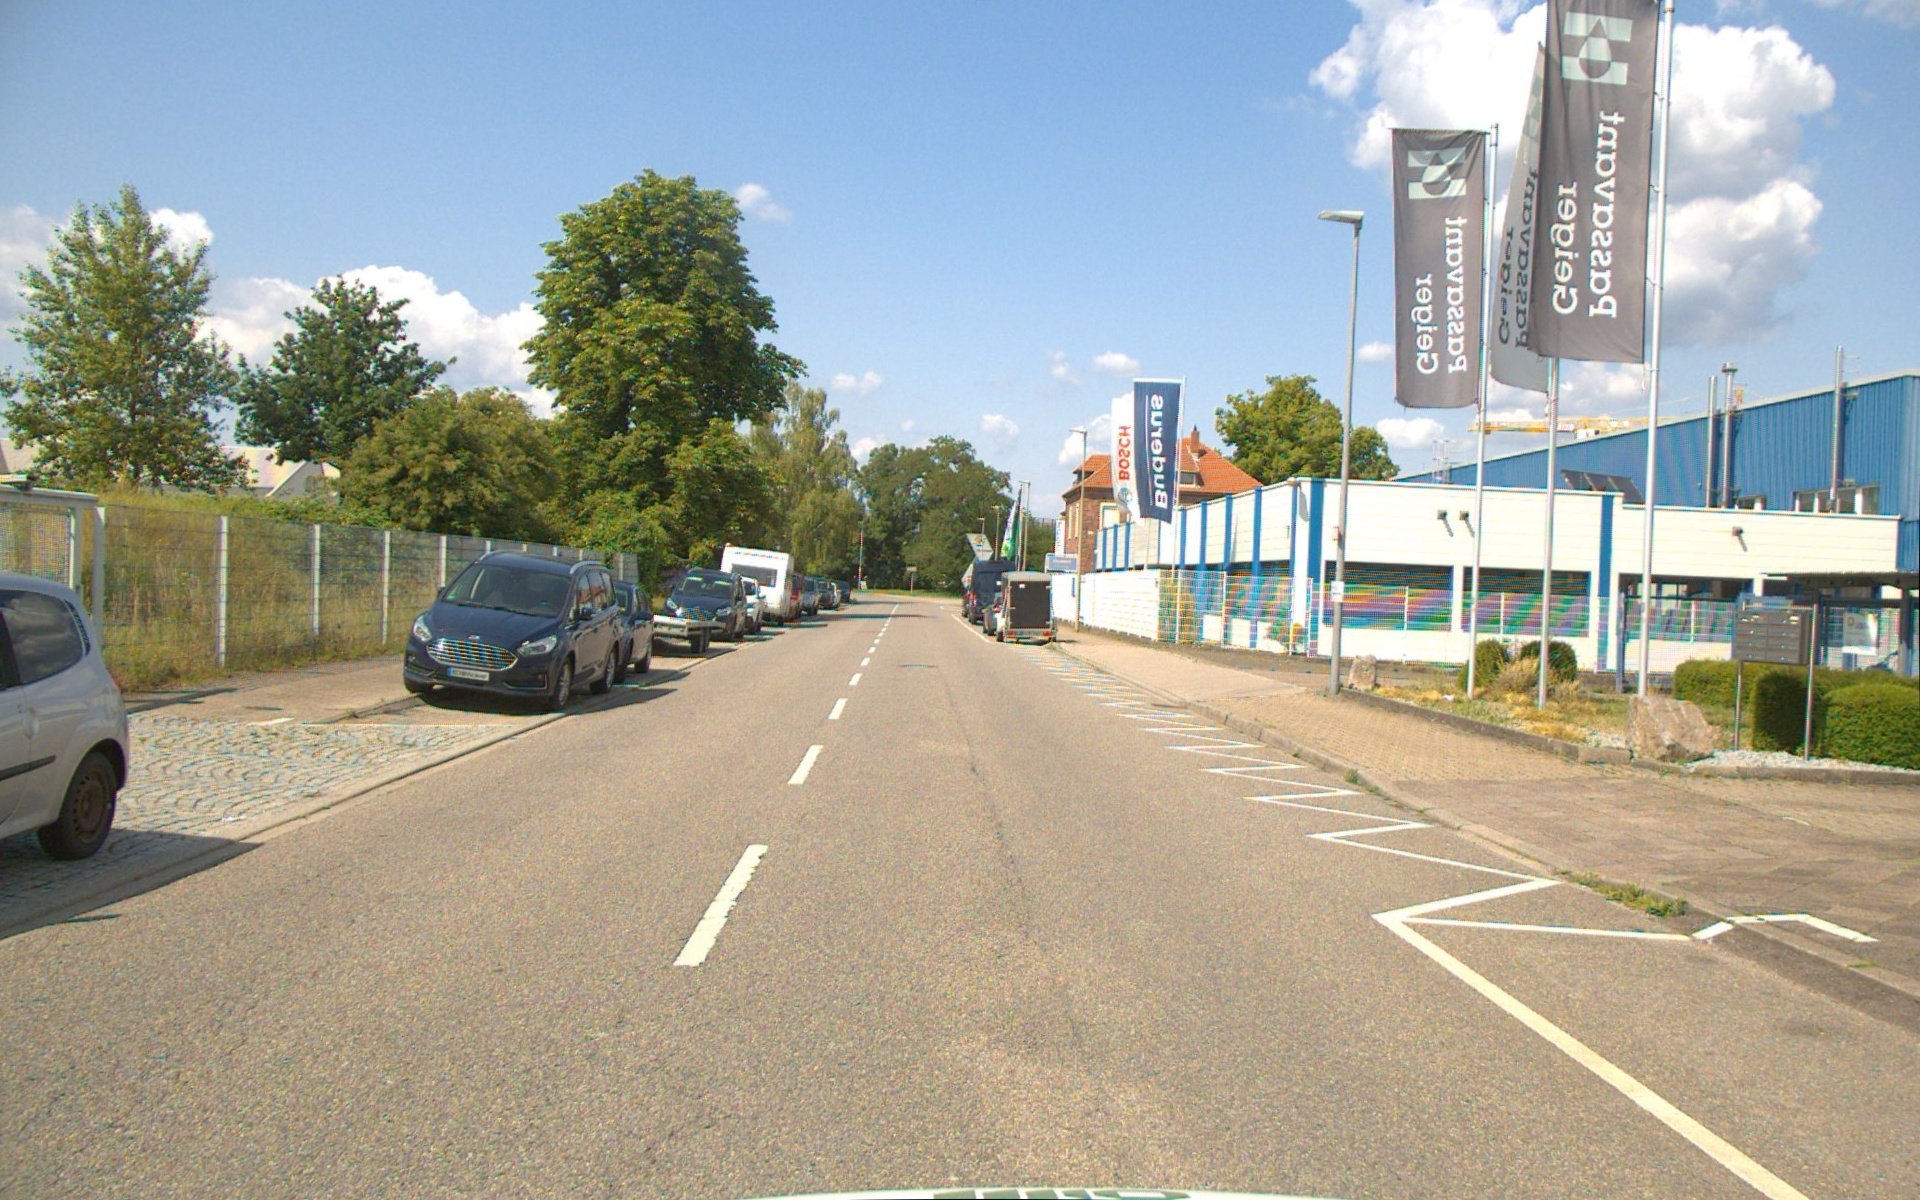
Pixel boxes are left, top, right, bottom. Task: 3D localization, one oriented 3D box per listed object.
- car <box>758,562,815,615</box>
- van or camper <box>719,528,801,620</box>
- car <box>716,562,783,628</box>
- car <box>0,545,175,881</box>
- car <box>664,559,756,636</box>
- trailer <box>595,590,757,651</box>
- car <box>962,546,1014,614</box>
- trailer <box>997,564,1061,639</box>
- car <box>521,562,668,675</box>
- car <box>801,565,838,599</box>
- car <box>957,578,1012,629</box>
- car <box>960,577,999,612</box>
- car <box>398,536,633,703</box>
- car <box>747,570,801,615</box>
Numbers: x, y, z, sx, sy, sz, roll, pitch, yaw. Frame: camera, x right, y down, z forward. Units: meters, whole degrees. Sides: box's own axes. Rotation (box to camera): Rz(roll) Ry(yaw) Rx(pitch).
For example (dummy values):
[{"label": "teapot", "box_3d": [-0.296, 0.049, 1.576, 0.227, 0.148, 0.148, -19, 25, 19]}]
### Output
[{"label": "car", "box_3d": [-7.472, -0.506, 71.691, 1.861, 1.987, 4.956, 8, 0, -2]}, {"label": "van or camper", "box_3d": [-7.069, -0.917, 59.112, 2.219, 2.851, 6.829, 6, 0, -3]}, {"label": "car", "box_3d": [-6.331, -0.172, 50.093, 1.651, 1.720, 4.441, 7, 0, -5]}, {"label": "car", "box_3d": [-5.170, 0.489, 7.339, 1.583, 1.509, 3.708, 5, 1, -2]}, {"label": "car", "box_3d": [-6.500, -0.093, 43.456, 1.790, 1.824, 4.733, 2, 1, -2]}, {"label": "trailer", "box_3d": [-5.918, 0.379, 35.469, 2.226, 0.898, 7.131, 7, 0, -1]}, {"label": "car", "box_3d": [1.190, -0.903, 72.304, 1.898, 2.796, 6.152, 1, 1, -2]}, {"label": "trailer", "box_3d": [2.015, 0.038, 48.734, 1.569, 2.072, 2.740, 3, 0, -2]}, {"label": "car", "box_3d": [-5.609, 0.244, 25.830, 1.546, 1.539, 4.198, 3, 0, -4]}, {"label": "car", "box_3d": [-7.865, -1.025, 92.991, 1.578, 1.775, 4.636, 4, 1, 0]}, {"label": "car", "box_3d": [0.776, 0.086, 54.796, 1.541, 1.533, 4.131, 3, 0, -2]}, {"label": "car", "box_3d": [0.973, -0.299, 84.538, 1.788, 1.693, 4.555, 2, 1, -1]}, {"label": "car", "box_3d": [-5.399, 0.189, 20.714, 1.765, 1.780, 4.711, 2, 1, -2]}, {"label": "car", "box_3d": [-7.318, -0.298, 65.362, 1.593, 1.558, 4.267, 6, 0, -2]}]
